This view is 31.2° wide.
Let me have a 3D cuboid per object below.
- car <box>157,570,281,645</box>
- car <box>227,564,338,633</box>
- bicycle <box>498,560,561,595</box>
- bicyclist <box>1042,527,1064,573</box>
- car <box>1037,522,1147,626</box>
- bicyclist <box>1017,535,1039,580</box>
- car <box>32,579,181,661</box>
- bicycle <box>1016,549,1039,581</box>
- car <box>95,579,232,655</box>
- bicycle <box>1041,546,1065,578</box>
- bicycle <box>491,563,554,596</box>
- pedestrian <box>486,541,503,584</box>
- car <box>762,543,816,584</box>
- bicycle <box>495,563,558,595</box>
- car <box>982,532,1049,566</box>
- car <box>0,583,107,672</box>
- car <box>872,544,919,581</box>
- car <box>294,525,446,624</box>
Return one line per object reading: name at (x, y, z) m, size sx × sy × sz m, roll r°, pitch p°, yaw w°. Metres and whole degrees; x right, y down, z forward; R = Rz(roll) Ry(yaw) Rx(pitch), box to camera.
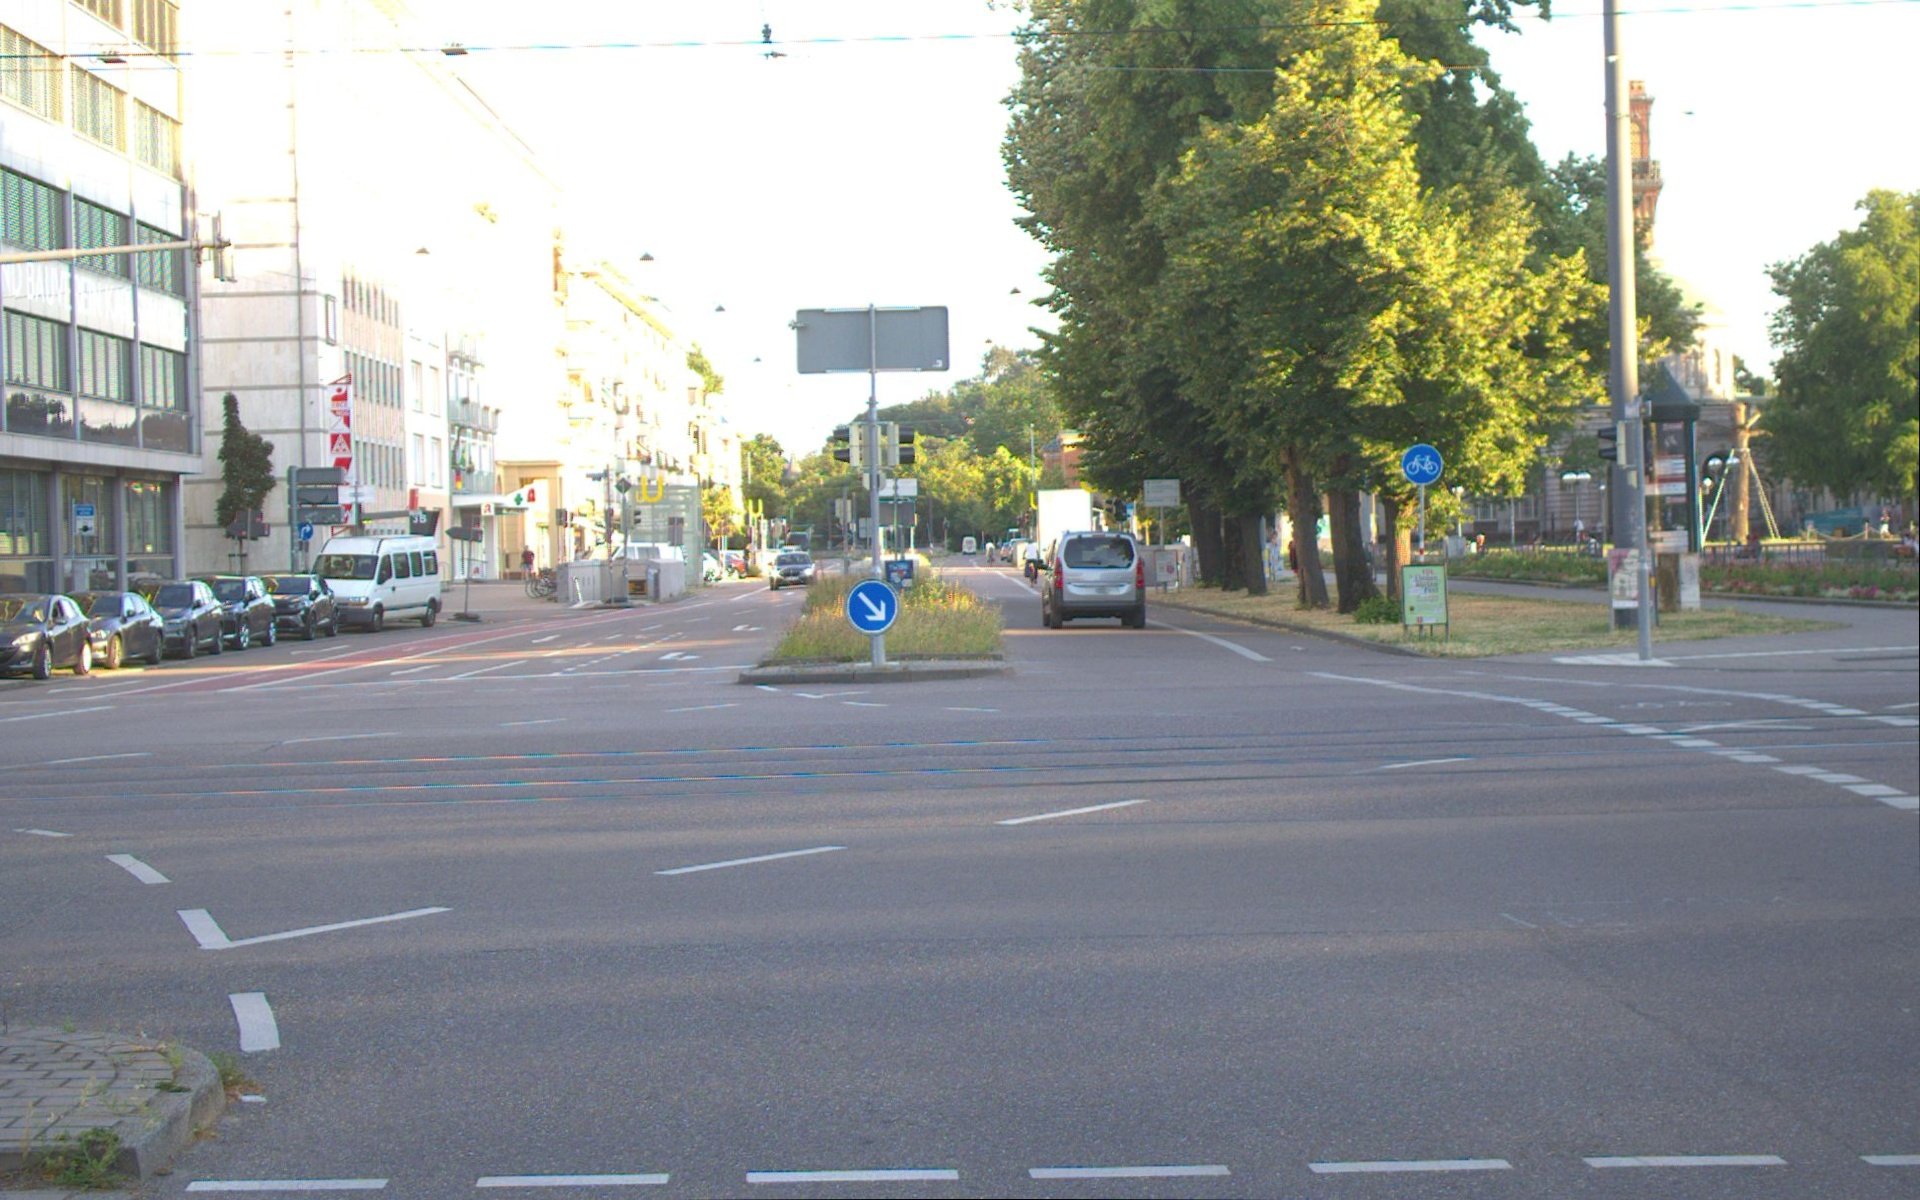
car at (-16.599, 0.151, 77.195) m, size 1.920 × 1.563 × 4.000 m, roll -2°, pitch 1°, yaw -1°
car at (-16.407, -0.062, 83.422) m, size 1.920 × 1.563 × 4.000 m, roll -2°, pitch 1°, yaw -1°
bicycle at (-15.917, -0.831, 127.078) m, size 2.205 × 1.232 × 0.839 m, roll -2°, pitch 1°, yaw -2°
bicyclist at (3.462, -1.870, 128.462) m, size 0.746 × 1.685 × 0.799 m, roll -2°, pitch 1°, yaw -1°
car at (2.495, -0.520, 66.062) m, size 1.763 × 1.882 × 4.500 m, roll -1°, pitch 1°, yaw -2°
bicyclist at (2.546, -1.594, 128.622) m, size 0.746 × 1.658 × 0.873 m, roll -2°, pitch 1°, yaw -1°
car at (-16.608, 0.367, 67.078) m, size 1.920 × 1.459 × 4.000 m, roll -2°, pitch 1°, yaw -1°
bicycle at (2.547, -1.318, 129.213) m, size 0.746 × 1.140 × 2.505 m, roll -2°, pitch 1°, yaw -1°
car at (-16.616, 0.336, 71.893) m, size 1.920 × 1.459 × 4.000 m, roll -2°, pitch 1°, yaw -1°
bicycle at (3.474, -1.427, 128.724) m, size 0.746 × 1.140 × 2.505 m, roll -2°, pitch 1°, yaw -1°
bicycle at (-15.793, -0.737, 124.097) m, size 2.205 × 1.108 × 0.619 m, roll -2°, pitch 1°, yaw -2°
pedestrian at (-22.130, -1.797, 163.414) m, size 0.680 × 2.007 × 0.545 m, roll -2°, pitch 1°, yaw 0°
car at (-6.681, -1.439, 134.726) m, size 1.863 × 1.514 × 4.000 m, roll -2°, pitch 1°, yaw 1°
bicycle at (-15.805, -0.757, 125.354) m, size 2.205 × 1.108 × 0.689 m, roll -2°, pitch 1°, yaw -2°
car at (3.483, -3.218, 215.742) m, size 3.986 × 2.007 × 2.000 m, roll -2°, pitch 1°, yaw -4°
car at (-16.514, 0.475, 60.616) m, size 1.920 × 1.459 × 4.103 m, roll -2°, pitch 1°, yaw -1°
car at (-2.756, -1.634, 147.830) m, size 1.863 × 1.514 × 4.000 m, roll -2°, pitch 1°, yaw 0°
car at (-15.353, -0.710, 89.875) m, size 2.002 × 2.469 × 5.865 m, roll -1°, pitch 1°, yaw 10°
